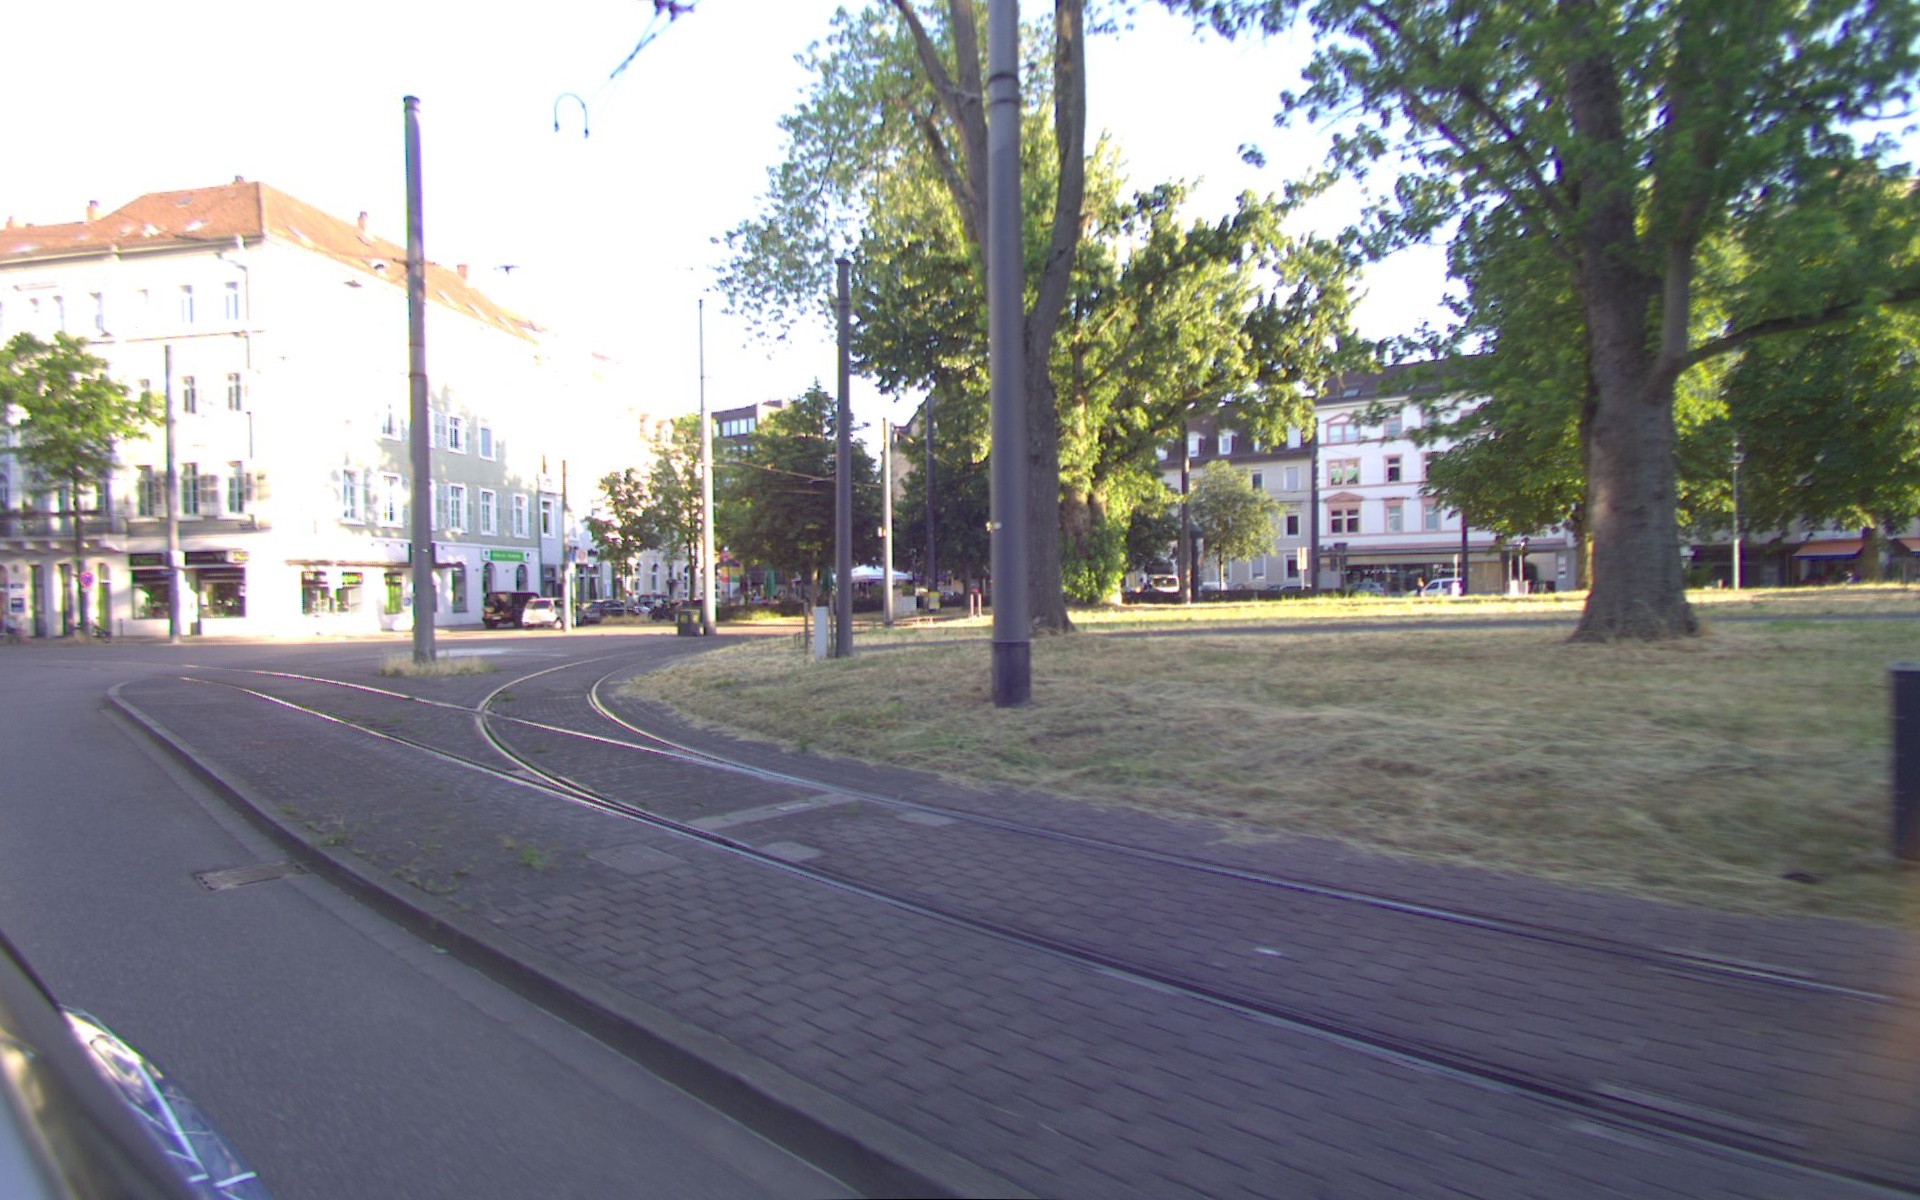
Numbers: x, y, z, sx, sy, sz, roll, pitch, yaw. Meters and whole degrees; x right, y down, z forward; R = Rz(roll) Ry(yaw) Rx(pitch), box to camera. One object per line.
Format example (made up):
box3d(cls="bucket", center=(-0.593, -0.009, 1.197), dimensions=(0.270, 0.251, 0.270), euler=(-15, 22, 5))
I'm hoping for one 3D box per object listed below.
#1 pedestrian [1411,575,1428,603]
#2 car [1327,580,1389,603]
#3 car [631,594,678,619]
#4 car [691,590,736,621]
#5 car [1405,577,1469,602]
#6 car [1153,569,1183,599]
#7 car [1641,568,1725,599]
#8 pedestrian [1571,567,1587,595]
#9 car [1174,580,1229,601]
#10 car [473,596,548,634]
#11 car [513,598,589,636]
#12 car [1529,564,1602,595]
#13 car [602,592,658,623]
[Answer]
box3d(cls="pedestrian", center=(28.745, -0.667, 63.295), dimensions=(0.798, 1.714, 0.791), euler=(-2, 0, 34))
box3d(cls="car", center=(30.083, -0.625, 76.518), dimensions=(3.991, 1.592, 1.776), euler=(-2, 0, 36))
box3d(cls="car", center=(-21.753, 0.436, 72.149), dimensions=(1.836, 1.719, 3.994), euler=(-2, 0, 5))
box3d(cls="car", center=(-17.342, 0.375, 71.466), dimensions=(1.836, 2.014, 3.994), euler=(-2, 0, 5))
box3d(cls="car", center=(34.599, -0.753, 73.464), dimensions=(3.987, 1.676, 1.741), euler=(-2, 0, 32))
box3d(cls="car", center=(14.991, -1.114, 72.899), dimensions=(1.979, 2.029, 3.985), euler=(-2, 0, 12))
box3d(cls="car", center=(46.760, -1.071, 65.569), dimensions=(4.195, 1.808, 1.919), euler=(-2, 0, 32))
box3d(cls="pedestrian", center=(38.879, -1.218, 63.558), dimensions=(0.799, 1.714, 0.790), euler=(-2, 1, 36))
box3d(cls="car", center=(19.945, -0.798, 83.699), dimensions=(3.991, 1.592, 1.776), euler=(-2, 0, 36))
box3d(cls="car", center=(-24.129, 0.785, 54.533), dimensions=(1.975, 1.918, 3.994), euler=(-2, 0, 5))
box3d(cls="car", center=(-19.951, 0.784, 49.535), dimensions=(1.836, 1.719, 3.994), euler=(-2, 0, 5))
box3d(cls="car", center=(41.124, -1.369, 68.807), dimensions=(4.195, 1.959, 1.741), euler=(-2, 0, 32))
box3d(cls="car", center=(-21.152, 0.462, 65.116), dimensions=(1.975, 1.918, 3.994), euler=(-2, 0, 5))
